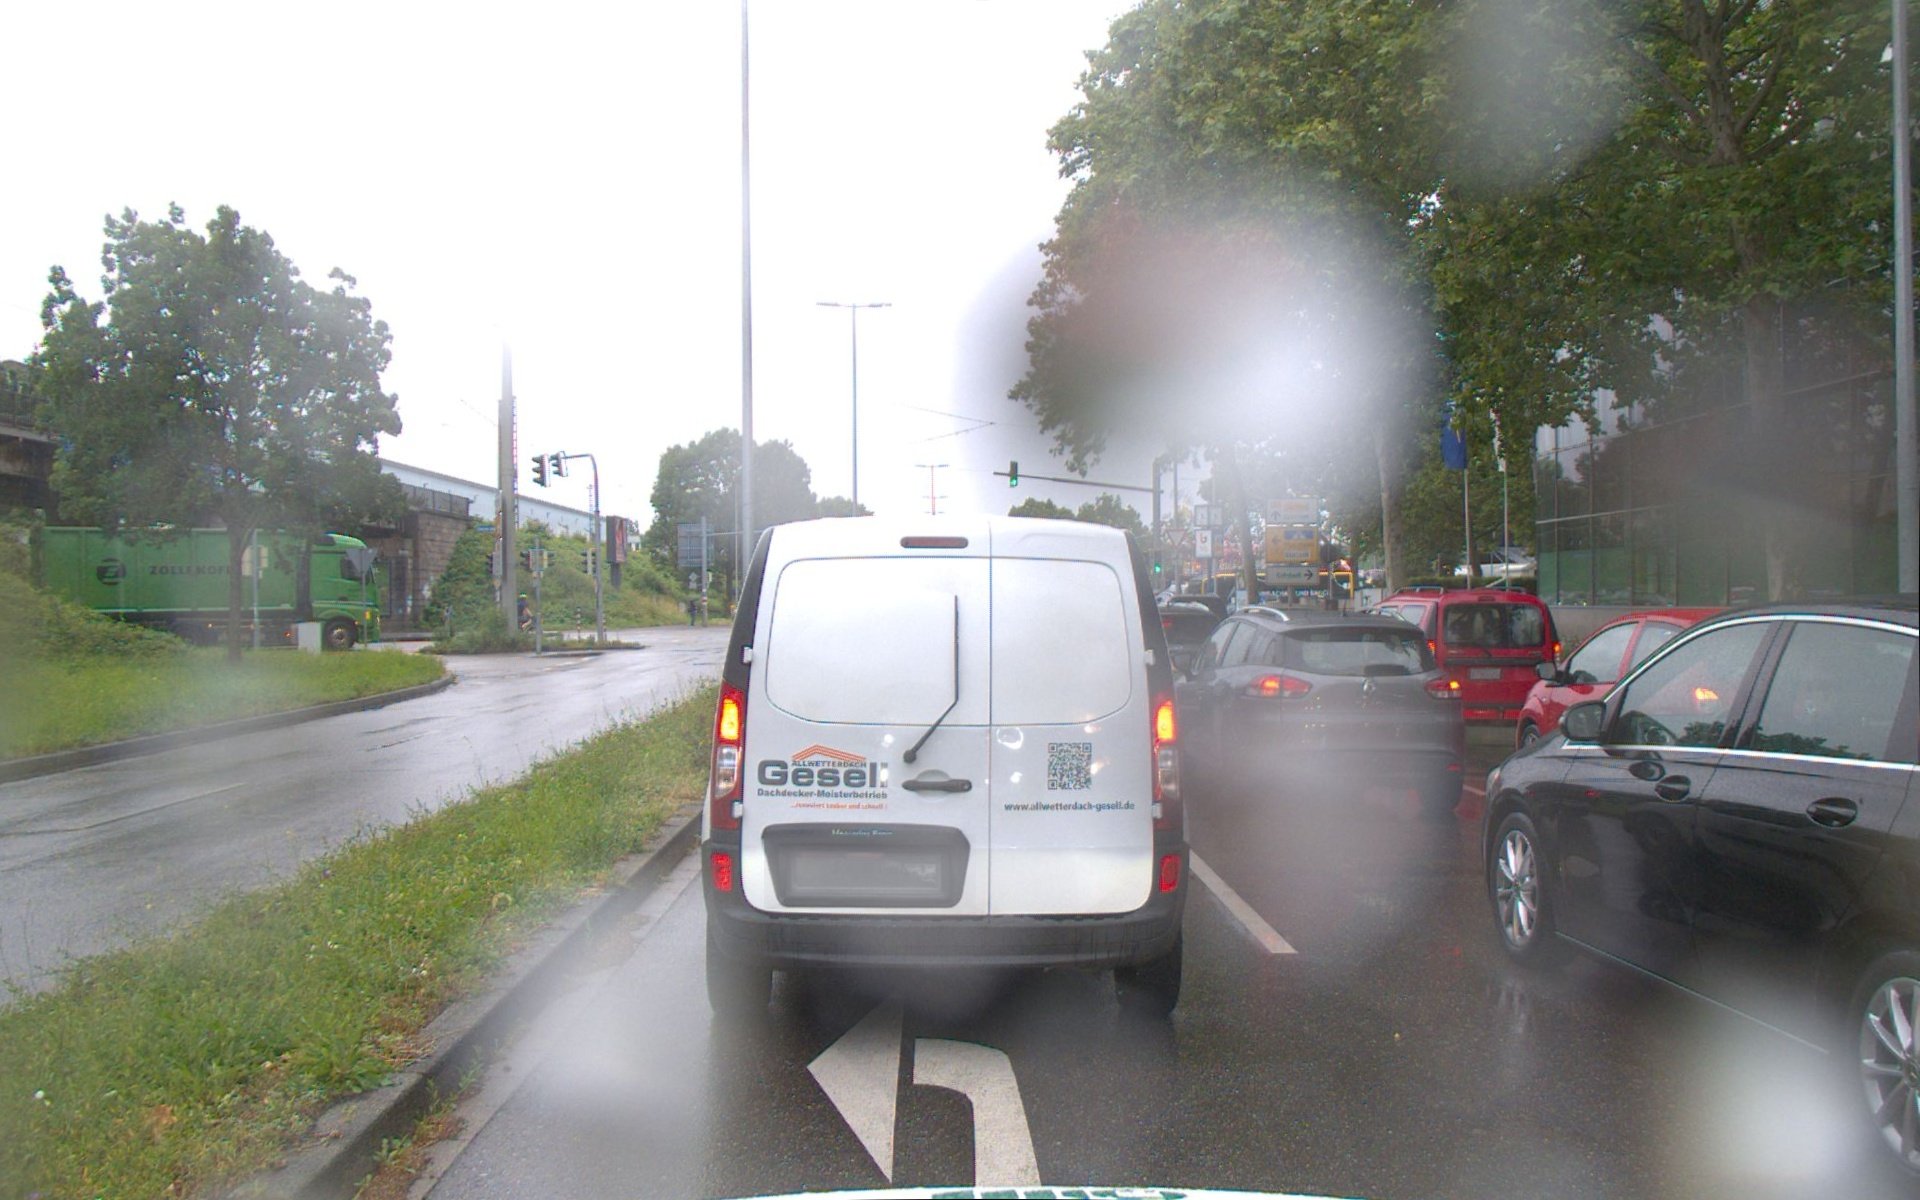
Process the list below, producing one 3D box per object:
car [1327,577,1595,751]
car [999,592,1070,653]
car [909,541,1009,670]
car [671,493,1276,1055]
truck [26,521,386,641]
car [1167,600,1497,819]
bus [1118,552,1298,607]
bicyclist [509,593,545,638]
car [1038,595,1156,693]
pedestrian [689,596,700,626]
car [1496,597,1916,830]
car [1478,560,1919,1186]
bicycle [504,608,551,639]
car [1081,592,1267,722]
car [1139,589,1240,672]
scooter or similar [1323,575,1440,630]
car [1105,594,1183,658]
[{"bbox_3d":[5.515,0.666,18.760,1.676,1.724,4.271,1,-1,-1],"label":"car"},{"bbox_3d":[2.104,0.631,47.619,1.816,1.678,3.842,0,0,-1],"label":"car"},{"bbox_3d":[-0.046,0.082,31.939,1.816,2.336,3.842,0,0,-1],"label":"car"},{"bbox_3d":[0.015,0.542,7.631,1.953,1.807,4.584,0,0,-1],"label":"car"},{"bbox_3d":[-23.153,-0.584,51.275,9.957,3.430,2.316,0,0,-37],"label":"truck"},{"bbox_3d":[2.762,0.743,13.132,1.649,1.433,3.842,1,0,-2],"label":"car"},{"bbox_3d":[16.593,-1.401,111.141,11.727,3.483,2.315,-1,1,-1],"label":"bus"},{"bbox_3d":[-14.442,0.507,55.206,1.028,1.475,0.723,-1,1,-26],"label":"bicyclist"},{"bbox_3d":[2.477,0.754,30.638,1.816,1.678,3.842,0,0,-1],"label":"car"},{"bbox_3d":[-15.344,0.620,95.644,0.532,1.746,0.563,1,-1,-5],"label":"pedestrian"},{"bbox_3d":[5.391,0.732,12.419,1.537,1.488,3.388,0,0,-2],"label":"car"},{"bbox_3d":[3.248,0.690,5.436,1.712,1.582,4.089,0,0,-2],"label":"car"},{"bbox_3d":[-14.475,0.764,55.271,1.027,0.968,2.865,-1,1,-25],"label":"bicycle"},{"bbox_3d":[2.605,0.641,20.968,1.816,1.486,3.842,0,0,-1],"label":"car"},{"bbox_3d":[5.051,0.630,36.871,1.673,1.758,3.842,0,0,-1],"label":"car"},{"bbox_3d":[19.668,0.096,77.350,1.878,2.489,5.239,0,0,-41],"label":"scooter or similar"},{"bbox_3d":[5.065,0.708,46.014,1.674,1.678,3.842,1,0,-1],"label":"car"}]
